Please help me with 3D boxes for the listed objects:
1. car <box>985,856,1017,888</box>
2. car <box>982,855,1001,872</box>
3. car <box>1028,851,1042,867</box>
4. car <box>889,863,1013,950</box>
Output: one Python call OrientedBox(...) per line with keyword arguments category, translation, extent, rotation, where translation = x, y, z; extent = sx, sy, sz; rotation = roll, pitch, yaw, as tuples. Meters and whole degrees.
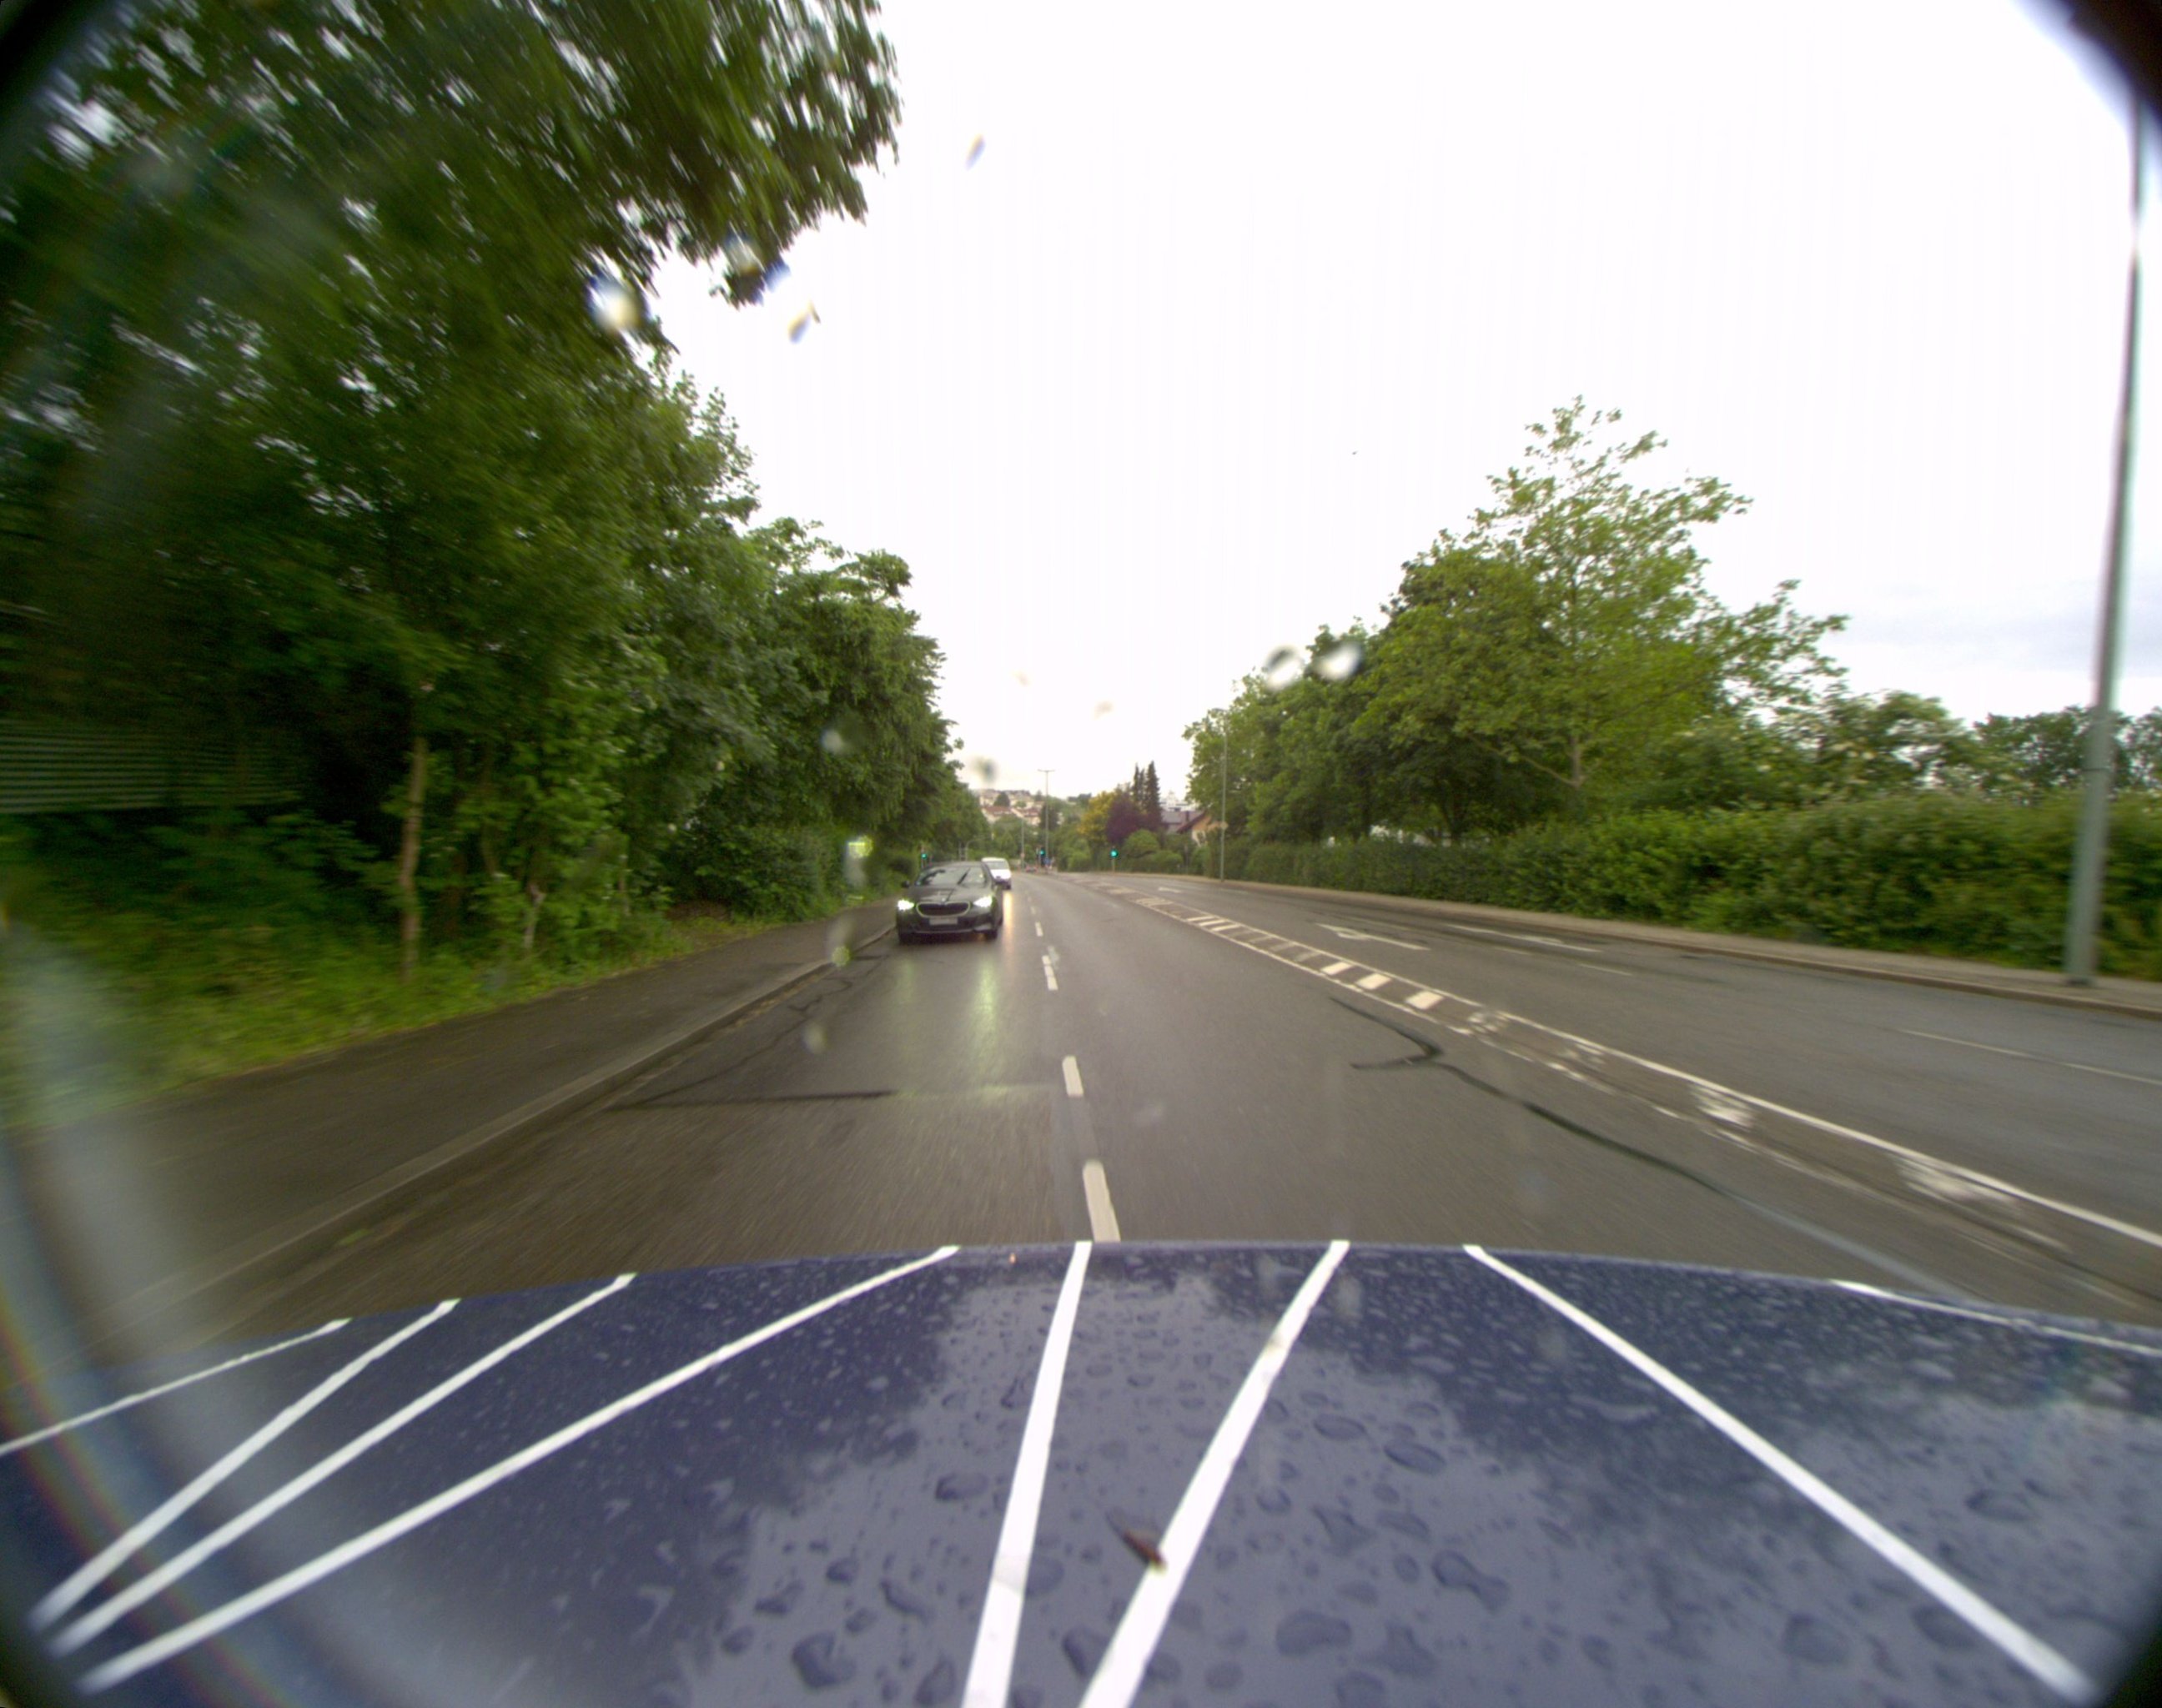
OrientedBox(category="car", translation=(-4.059, 0.874, 38.727), extent=(1.551, 1.505, 4.281), rotation=(0, 0, -5))
OrientedBox(category="car", translation=(-8.961, 0.920, 76.228), extent=(1.704, 1.670, 4.281), rotation=(0, 0, -5))
OrientedBox(category="car", translation=(-5.575, 0.597, 91.844), extent=(1.551, 1.812, 4.281), rotation=(0, 0, -4))
OrientedBox(category="car", translation=(-2.519, 0.962, 15.793), extent=(1.845, 1.371, 4.282), rotation=(-3, 1, -1))
